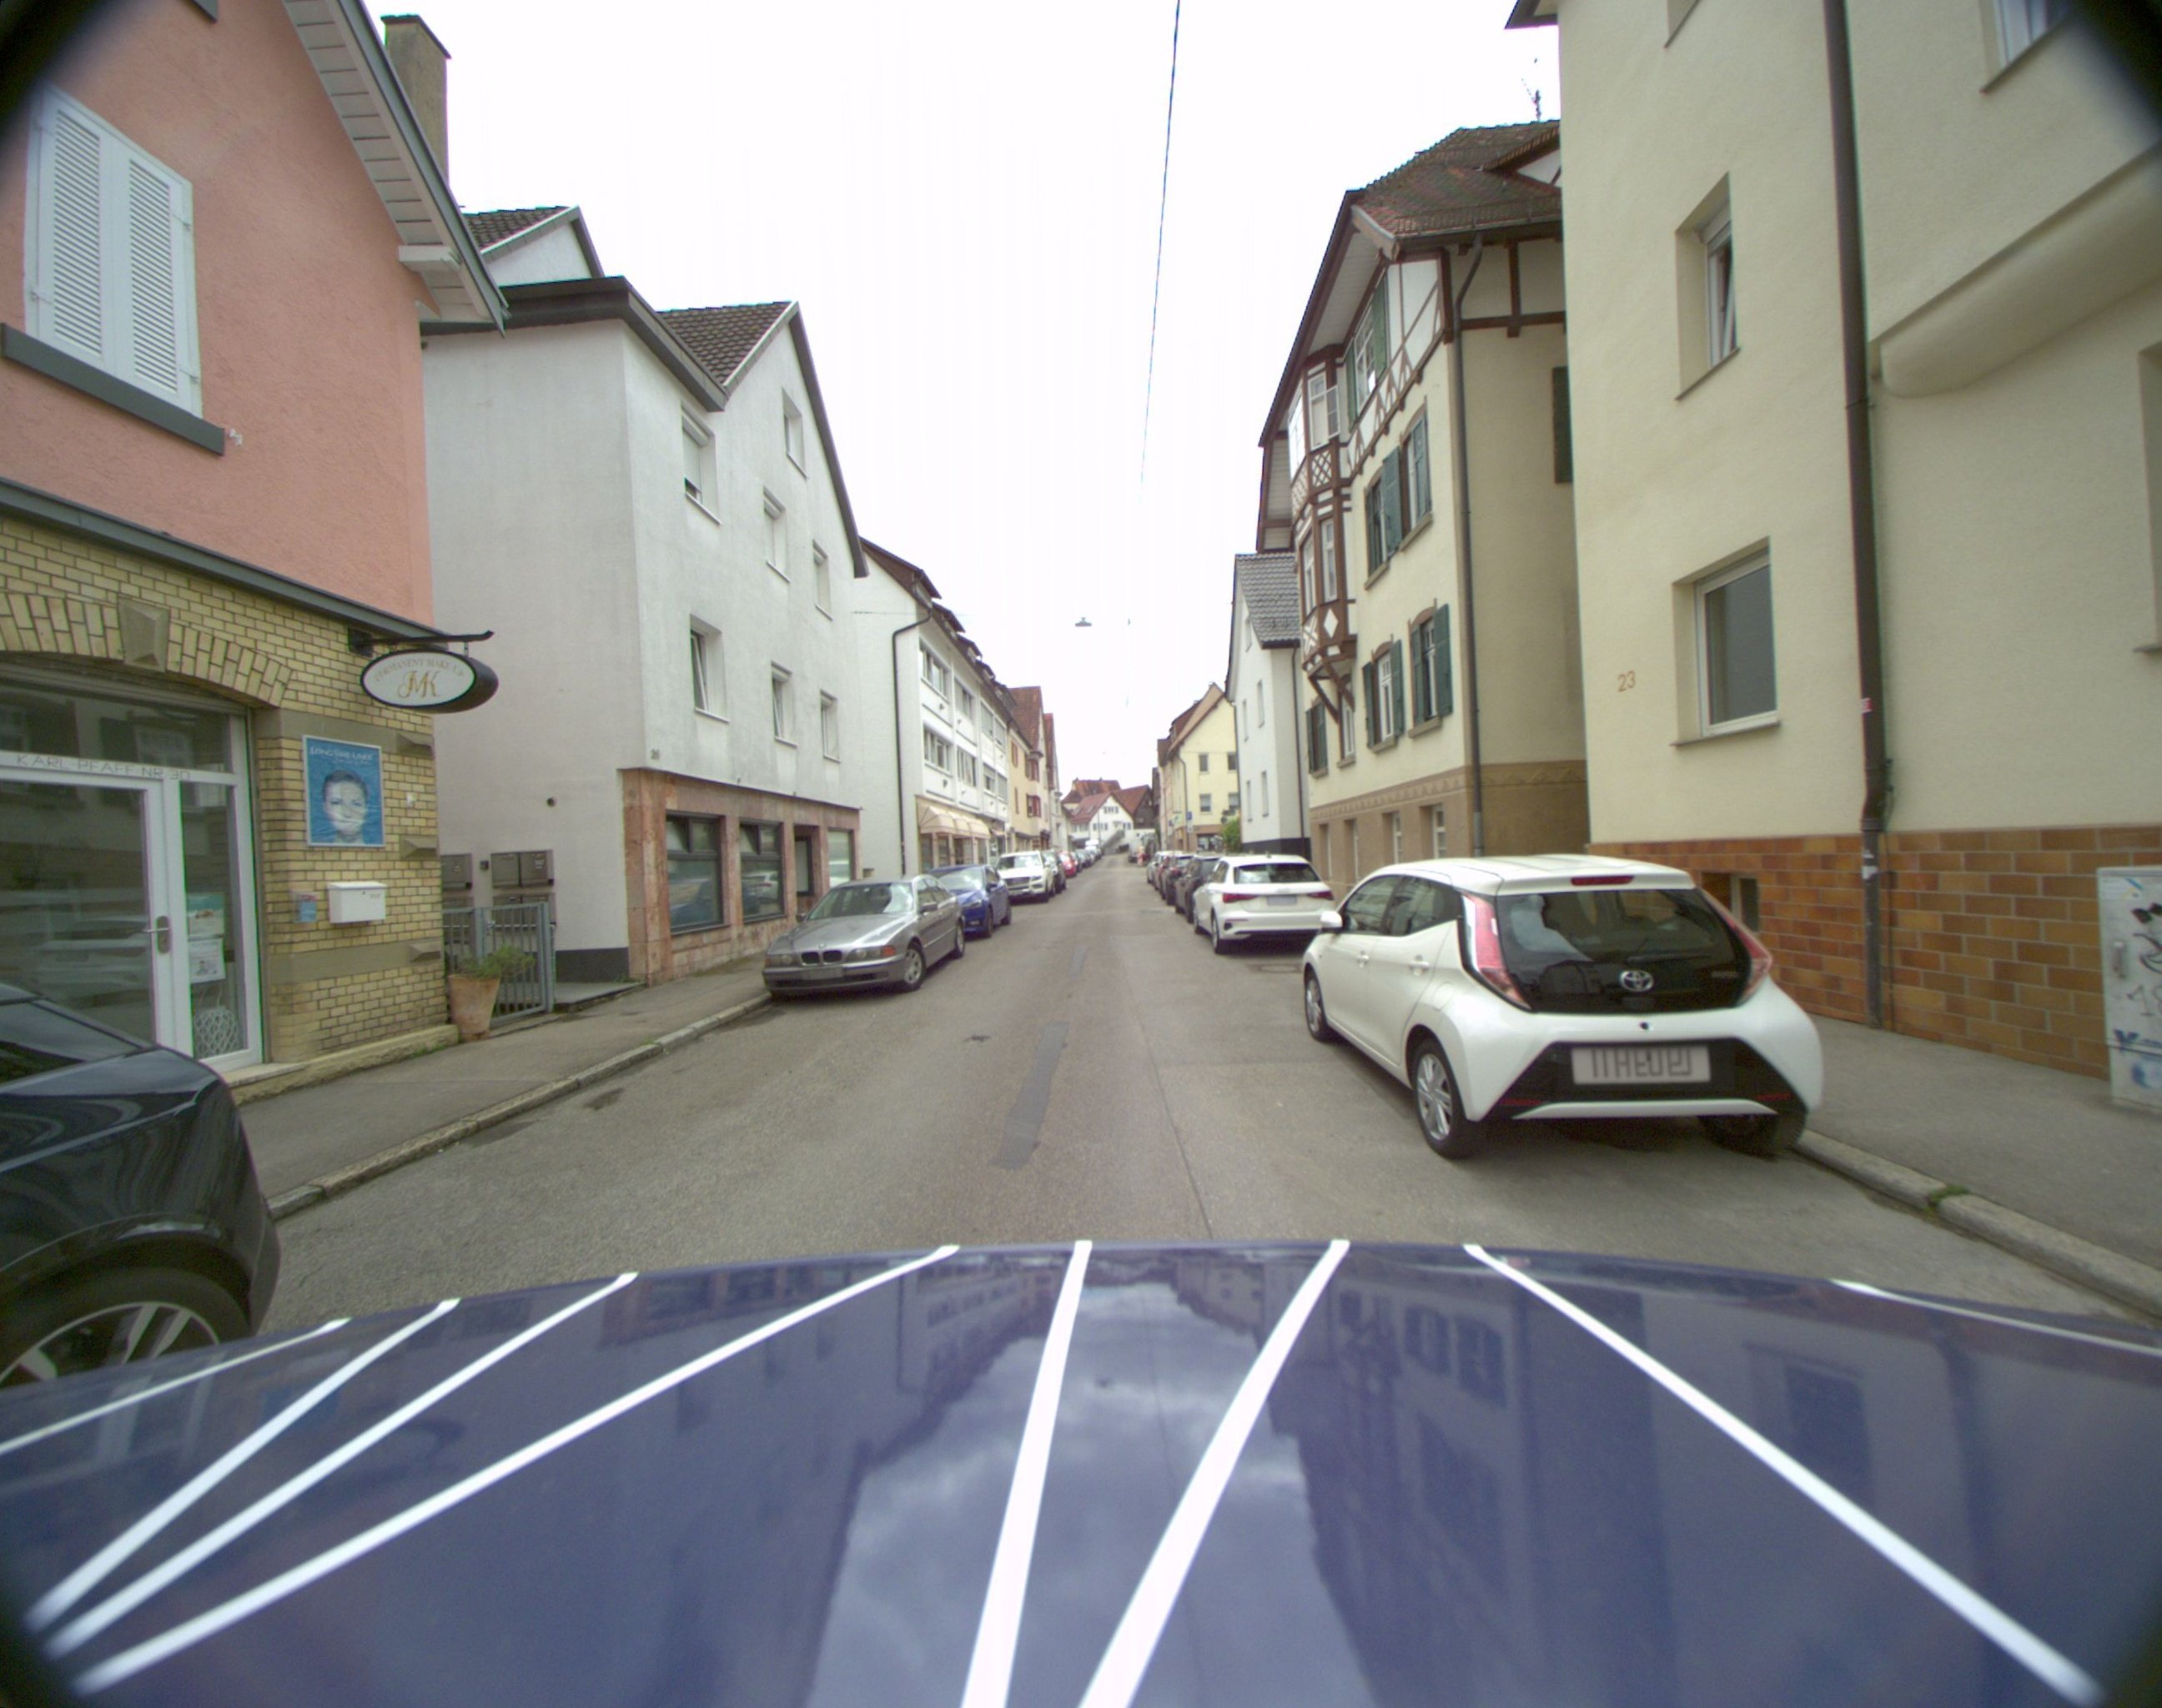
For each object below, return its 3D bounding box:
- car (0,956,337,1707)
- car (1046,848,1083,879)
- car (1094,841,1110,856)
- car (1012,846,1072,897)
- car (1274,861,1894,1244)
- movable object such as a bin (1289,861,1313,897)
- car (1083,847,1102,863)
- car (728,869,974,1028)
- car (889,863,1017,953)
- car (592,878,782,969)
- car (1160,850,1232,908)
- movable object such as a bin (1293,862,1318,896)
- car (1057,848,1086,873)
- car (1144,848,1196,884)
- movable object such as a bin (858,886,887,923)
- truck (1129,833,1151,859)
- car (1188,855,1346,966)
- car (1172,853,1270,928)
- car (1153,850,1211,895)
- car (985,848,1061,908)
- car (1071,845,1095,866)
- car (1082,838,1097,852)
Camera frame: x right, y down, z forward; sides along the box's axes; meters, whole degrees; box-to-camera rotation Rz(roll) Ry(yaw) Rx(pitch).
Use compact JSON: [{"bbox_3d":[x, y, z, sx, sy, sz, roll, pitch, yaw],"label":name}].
[{"bbox_3d":[-3.215,1.147,0.262,1.822,1.534,4.027,-5,0,0],"label":"car"},{"bbox_3d":[-0.944,0.523,45.147,1.673,1.519,3.989,-6,1,4],"label":"car"},{"bbox_3d":[2.381,-0.669,85.694,1.606,1.464,3.551,-6,1,3],"label":"car"},{"bbox_3d":[-1.525,0.657,31.302,1.900,1.779,4.344,-4,1,3],"label":"car"},{"bbox_3d":[2.522,0.839,4.994,1.670,1.425,3.816,-2,1,3],"label":"car"},{"bbox_3d":[6.587,0.743,22.745,0.515,1.009,0.604,-4,0,3],"label":"movable object such as a bin"},{"bbox_3d":[1.191,0.061,78.047,1.606,1.464,3.551,-6,1,3],"label":"car"},{"bbox_3d":[-2.861,1.097,10.669,1.791,1.409,4.577,-6,1,2],"label":"car"},{"bbox_3d":[-2.536,1.026,16.037,1.755,1.424,3.928,-4,1,3],"label":"car"},{"bbox_3d":[-8.394,1.410,16.641,1.647,1.424,4.013,-4,1,6],"label":"car"},{"bbox_3d":[3.310,0.672,22.503,1.755,1.501,4.085,0,1,4],"label":"car"},{"bbox_3d":[6.523,0.717,22.091,0.515,0.926,0.604,-4,0,3],"label":"movable object such as a bin"},{"bbox_3d":[-0.650,0.411,53.170,1.606,1.519,3.988,-6,1,3],"label":"car"},{"bbox_3d":[3.831,0.480,33.286,1.756,1.423,4.349,-1,1,0],"label":"car"},{"bbox_3d":[-5.393,1.295,19.660,0.570,0.924,0.522,0,1,3],"label":"movable object such as a bin"},{"bbox_3d":[5.726,-0.780,74.203,1.783,2.378,5.485,-3,1,2],"label":"truck"},{"bbox_3d":[2.837,0.775,12.527,1.755,1.424,4.370,0,1,3],"label":"car"},{"bbox_3d":[3.092,0.743,17.586,1.755,1.448,4.370,0,1,4],"label":"car"},{"bbox_3d":[3.593,0.610,27.666,1.755,1.441,4.067,0,1,3],"label":"car"},{"bbox_3d":[-1.862,0.733,25.880,1.900,1.696,4.494,-4,1,3],"label":"car"},{"bbox_3d":[0.184,0.089,62.759,1.606,1.464,3.988,-6,1,3],"label":"car"},{"bbox_3d":[1.109,-1.163,97.333,1.606,1.716,3.551,-6,1,3],"label":"car"}]
